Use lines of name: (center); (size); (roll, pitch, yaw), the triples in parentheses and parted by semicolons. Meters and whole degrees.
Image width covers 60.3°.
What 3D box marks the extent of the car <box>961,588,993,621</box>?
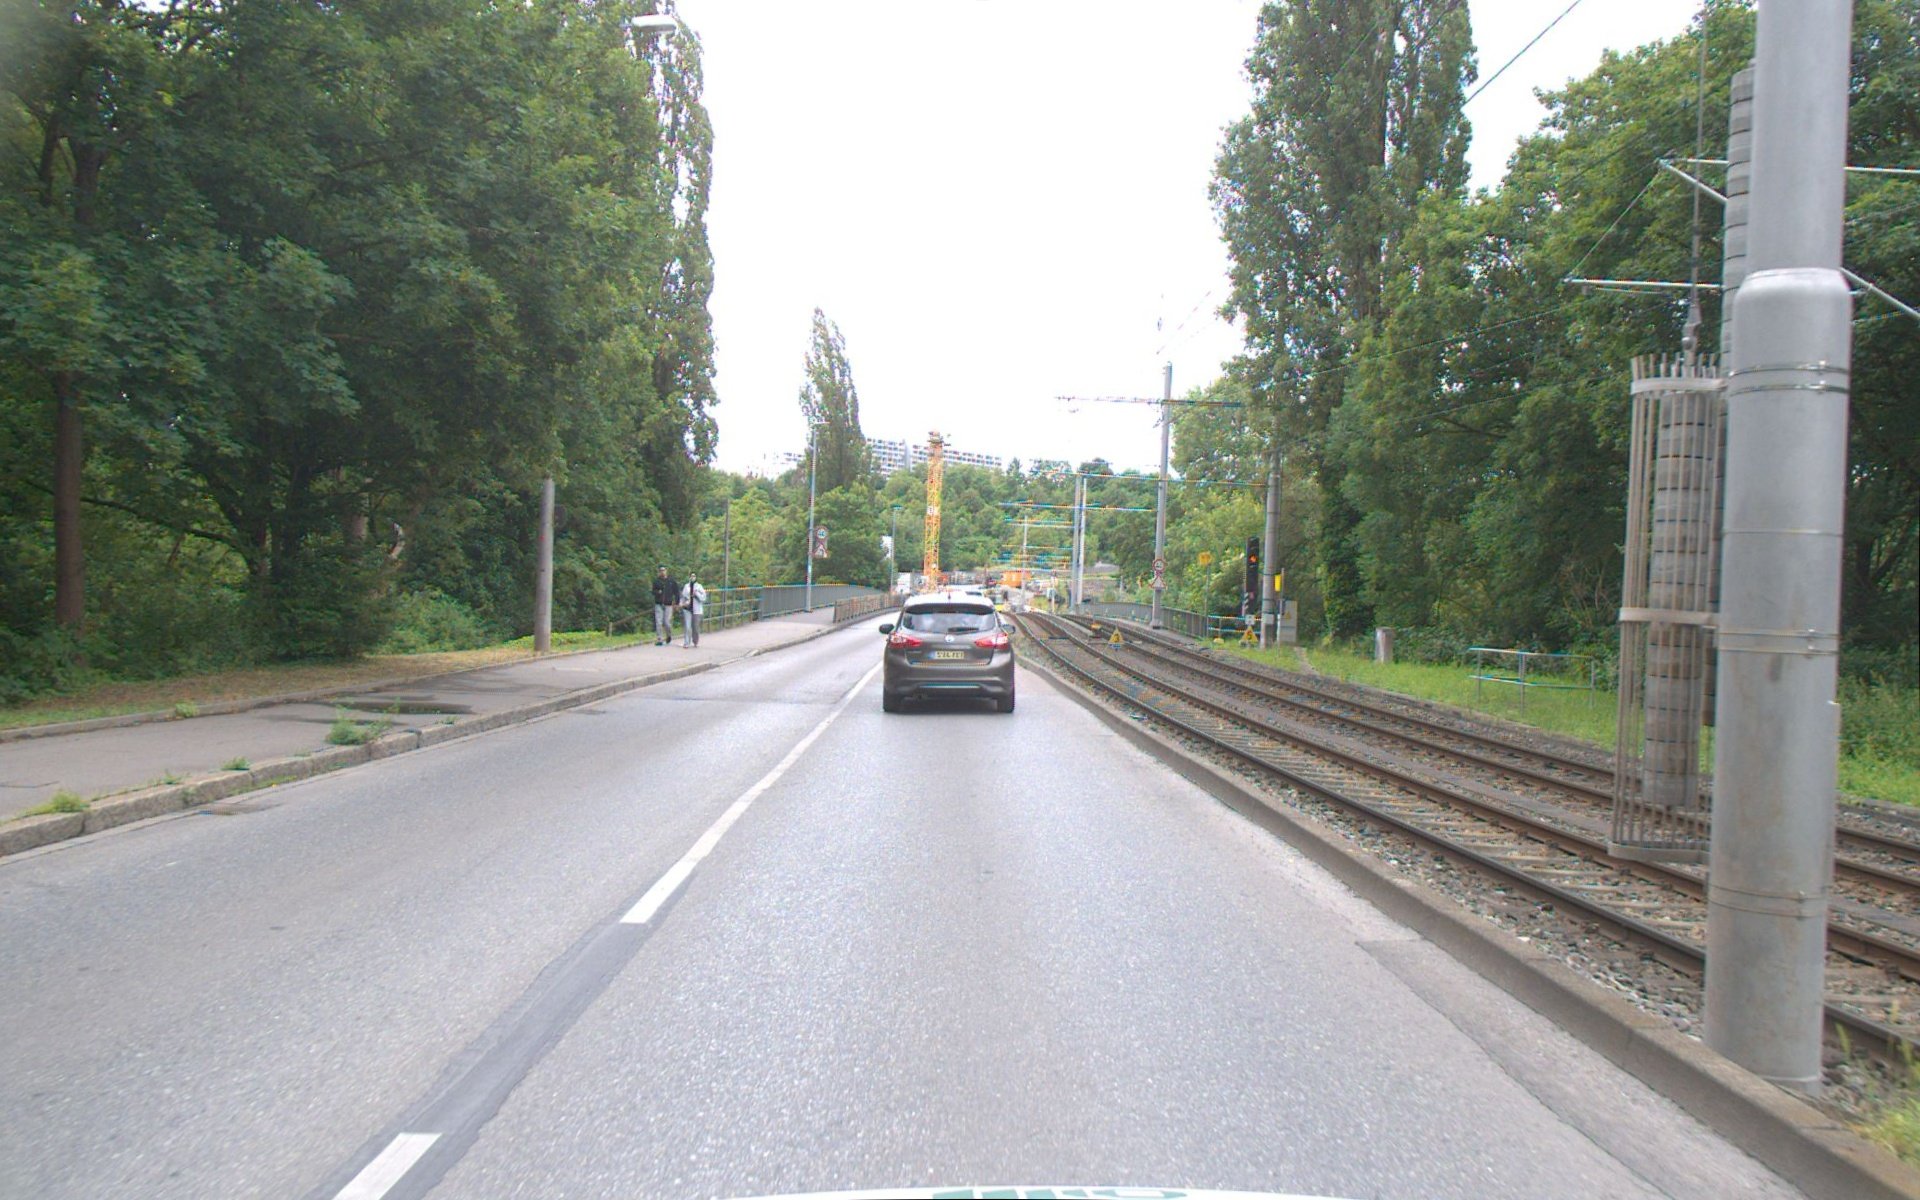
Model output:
car: (0.927, 0.230, 90.163); (1.645, 1.634, 4.310); (3, 1, 1)

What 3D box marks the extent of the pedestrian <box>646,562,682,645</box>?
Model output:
pedestrian: (-6.712, 0.074, 37.562); (0.575, 1.834, 0.822); (3, 0, -1)

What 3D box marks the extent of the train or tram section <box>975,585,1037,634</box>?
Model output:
train or tram section: (5.205, 1.250, 195.659); (2.972, 5.273, 23.006); (4, -2, -9)

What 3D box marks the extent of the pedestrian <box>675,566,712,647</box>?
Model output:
pedestrian: (-6.077, 0.145, 37.705); (0.540, 1.795, 0.858); (6, 0, -1)

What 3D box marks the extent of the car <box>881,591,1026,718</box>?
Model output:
car: (-0.171, 0.683, 22.958); (1.793, 1.536, 3.998); (2, 1, -3)

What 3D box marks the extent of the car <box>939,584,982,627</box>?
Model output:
car: (0.056, 0.206, 68.809); (1.646, 1.634, 4.309); (4, 0, 1)
